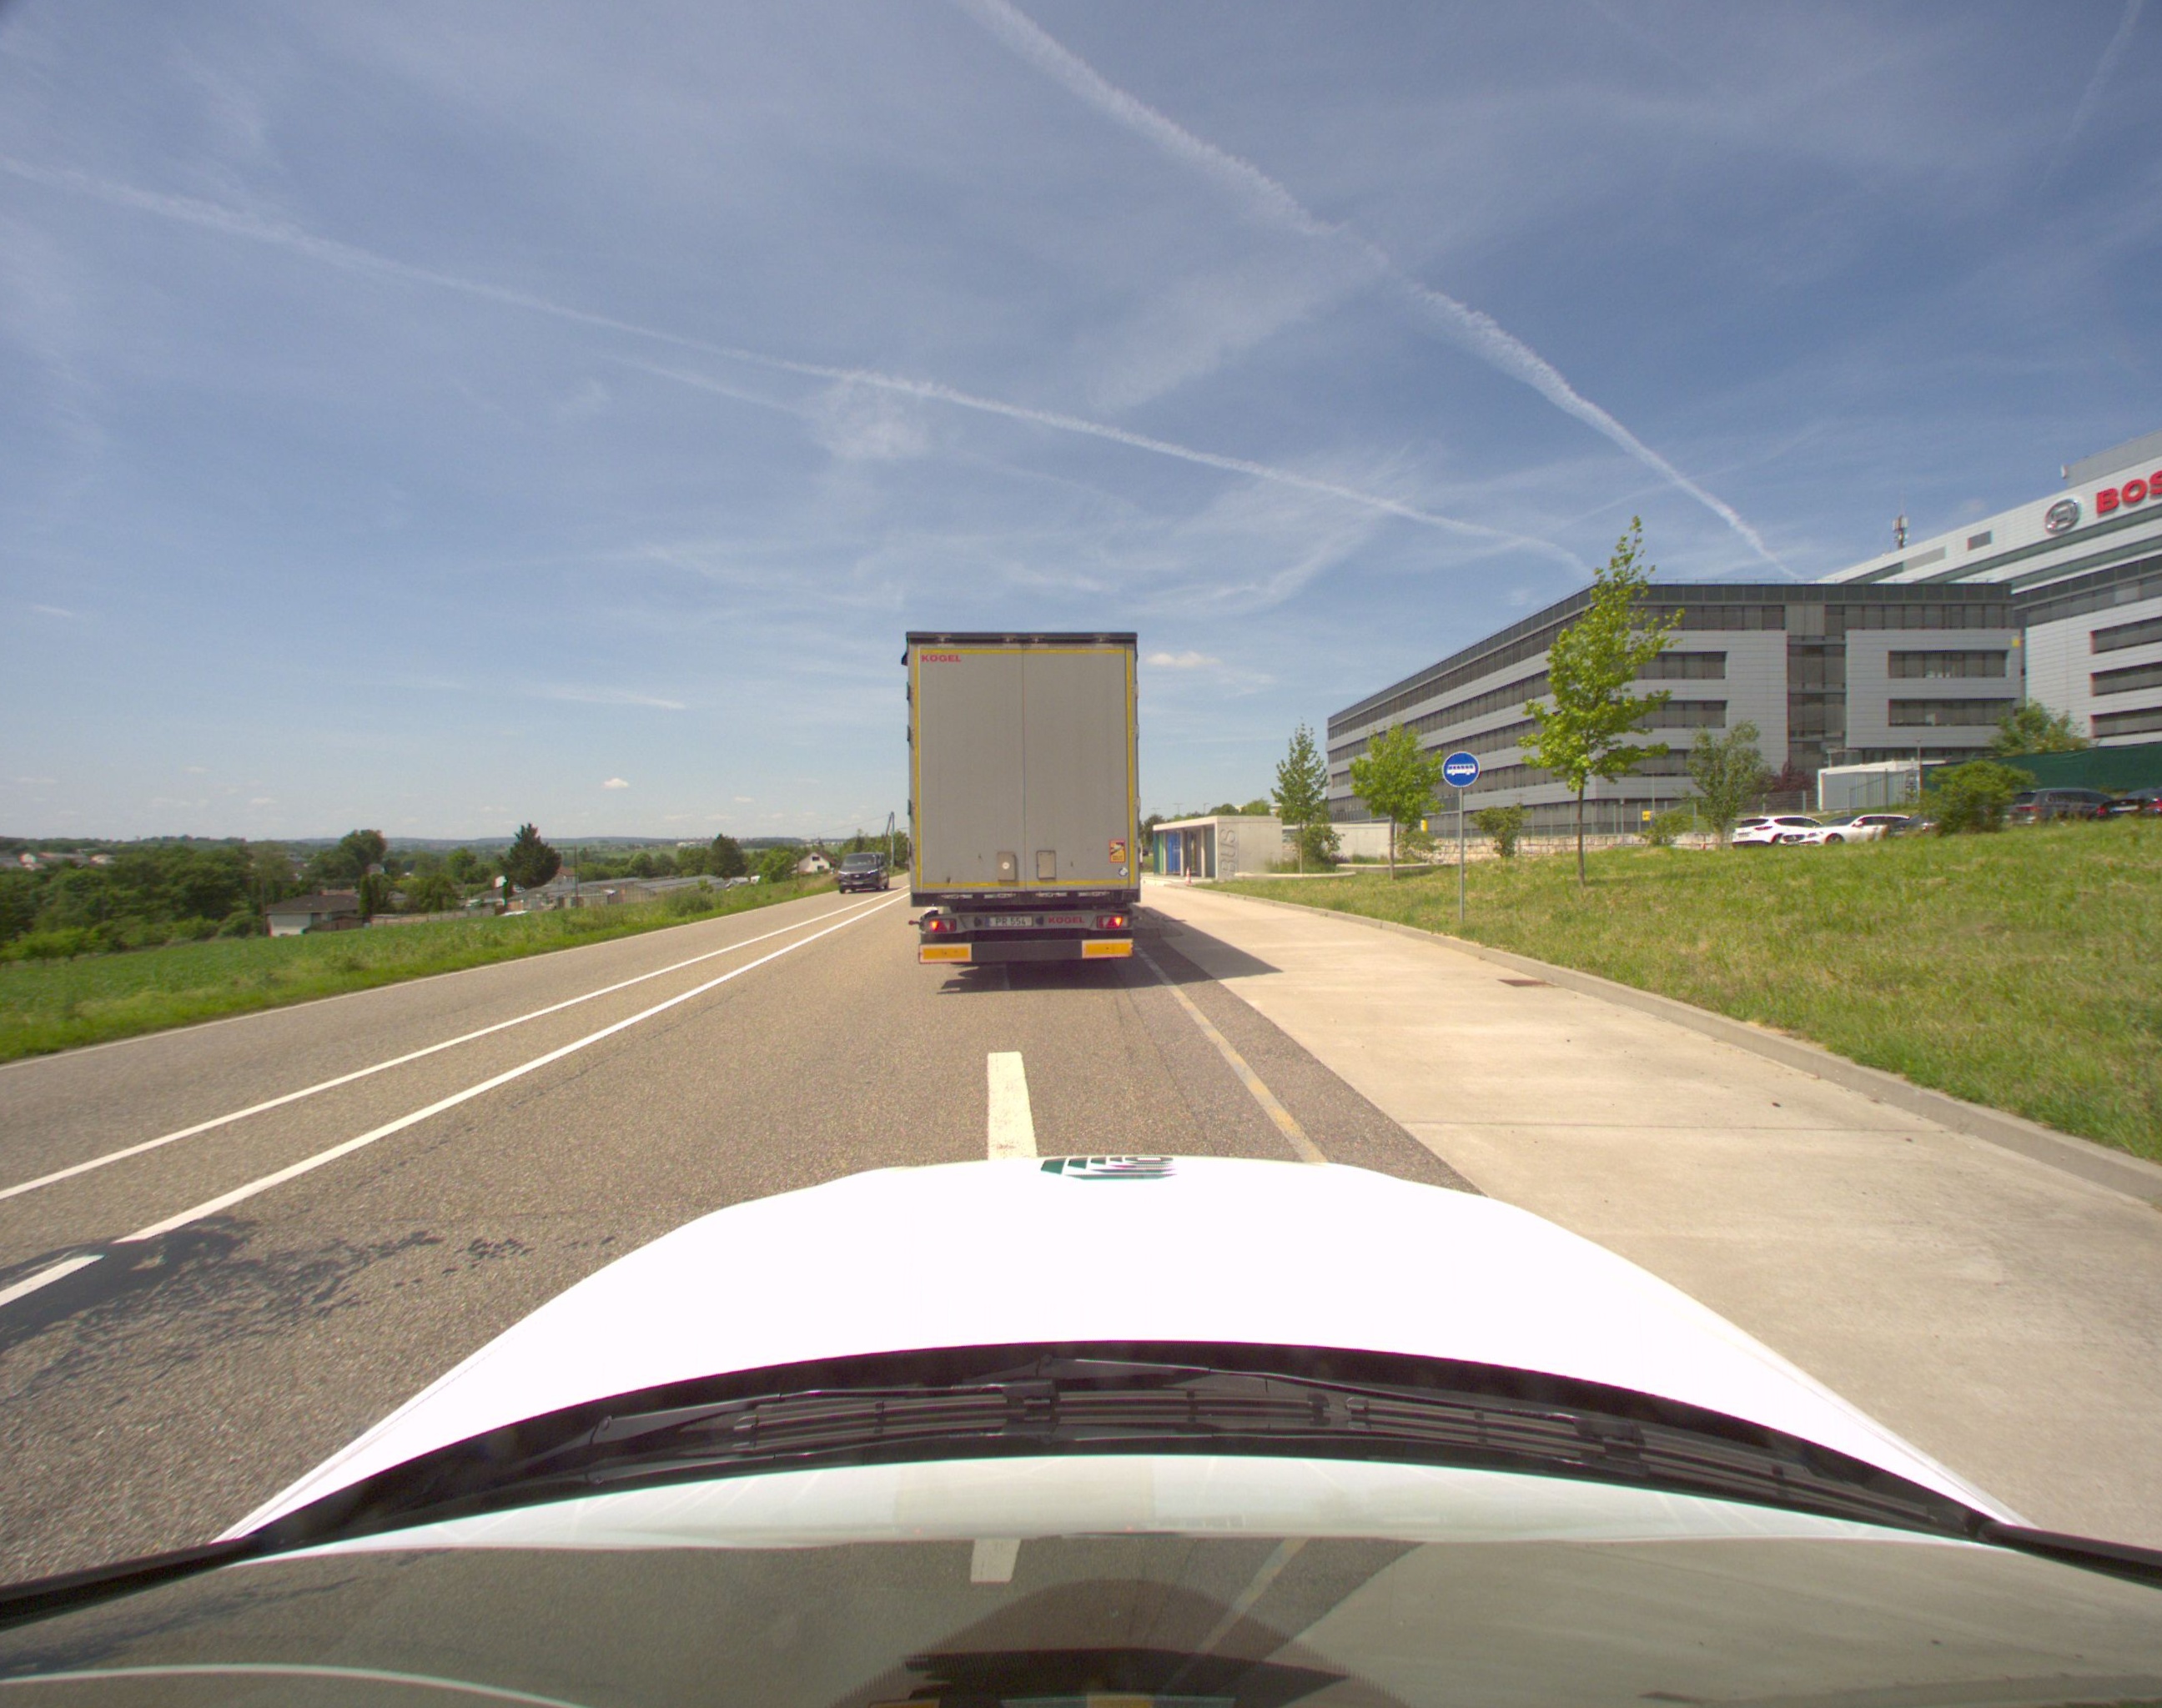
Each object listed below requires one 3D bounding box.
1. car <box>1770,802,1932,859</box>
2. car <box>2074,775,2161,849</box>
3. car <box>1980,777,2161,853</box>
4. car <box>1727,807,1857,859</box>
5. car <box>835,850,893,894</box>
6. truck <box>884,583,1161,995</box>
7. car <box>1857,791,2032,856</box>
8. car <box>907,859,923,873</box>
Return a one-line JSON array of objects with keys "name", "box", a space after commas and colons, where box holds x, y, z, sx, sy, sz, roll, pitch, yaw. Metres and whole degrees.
[{"name": "car", "box": [29.991, -0.882, 31.818, 4.541, 1.766, 1.975, -4, -1, -4]}, {"name": "car", "box": [30.633, -1.281, 22.655, 3.979, 1.921, 1.753, -4, -1, -4]}, {"name": "car", "box": [30.182, -1.164, 24.685, 3.979, 1.921, 1.753, -4, -1, -4]}, {"name": "car", "box": [29.954, -0.849, 34.391, 3.979, 1.814, 1.753, -4, -1, -4]}, {"name": "car", "box": [-10.943, 0.849, 41.471, 1.992, 1.978, 5.266, -3, 0, -7]}, {"name": "truck", "box": [-0.808, -0.725, 13.232, 2.900, 4.410, 8.851, -1, 0, -3]}, {"name": "car", "box": [29.479, -1.007, 27.887, 3.979, 1.814, 1.975, -4, -1, -4]}, {"name": "car", "box": [-22.695, 1.681, 111.275, 1.994, 1.787, 3.985, -3, 0, -10]}]
